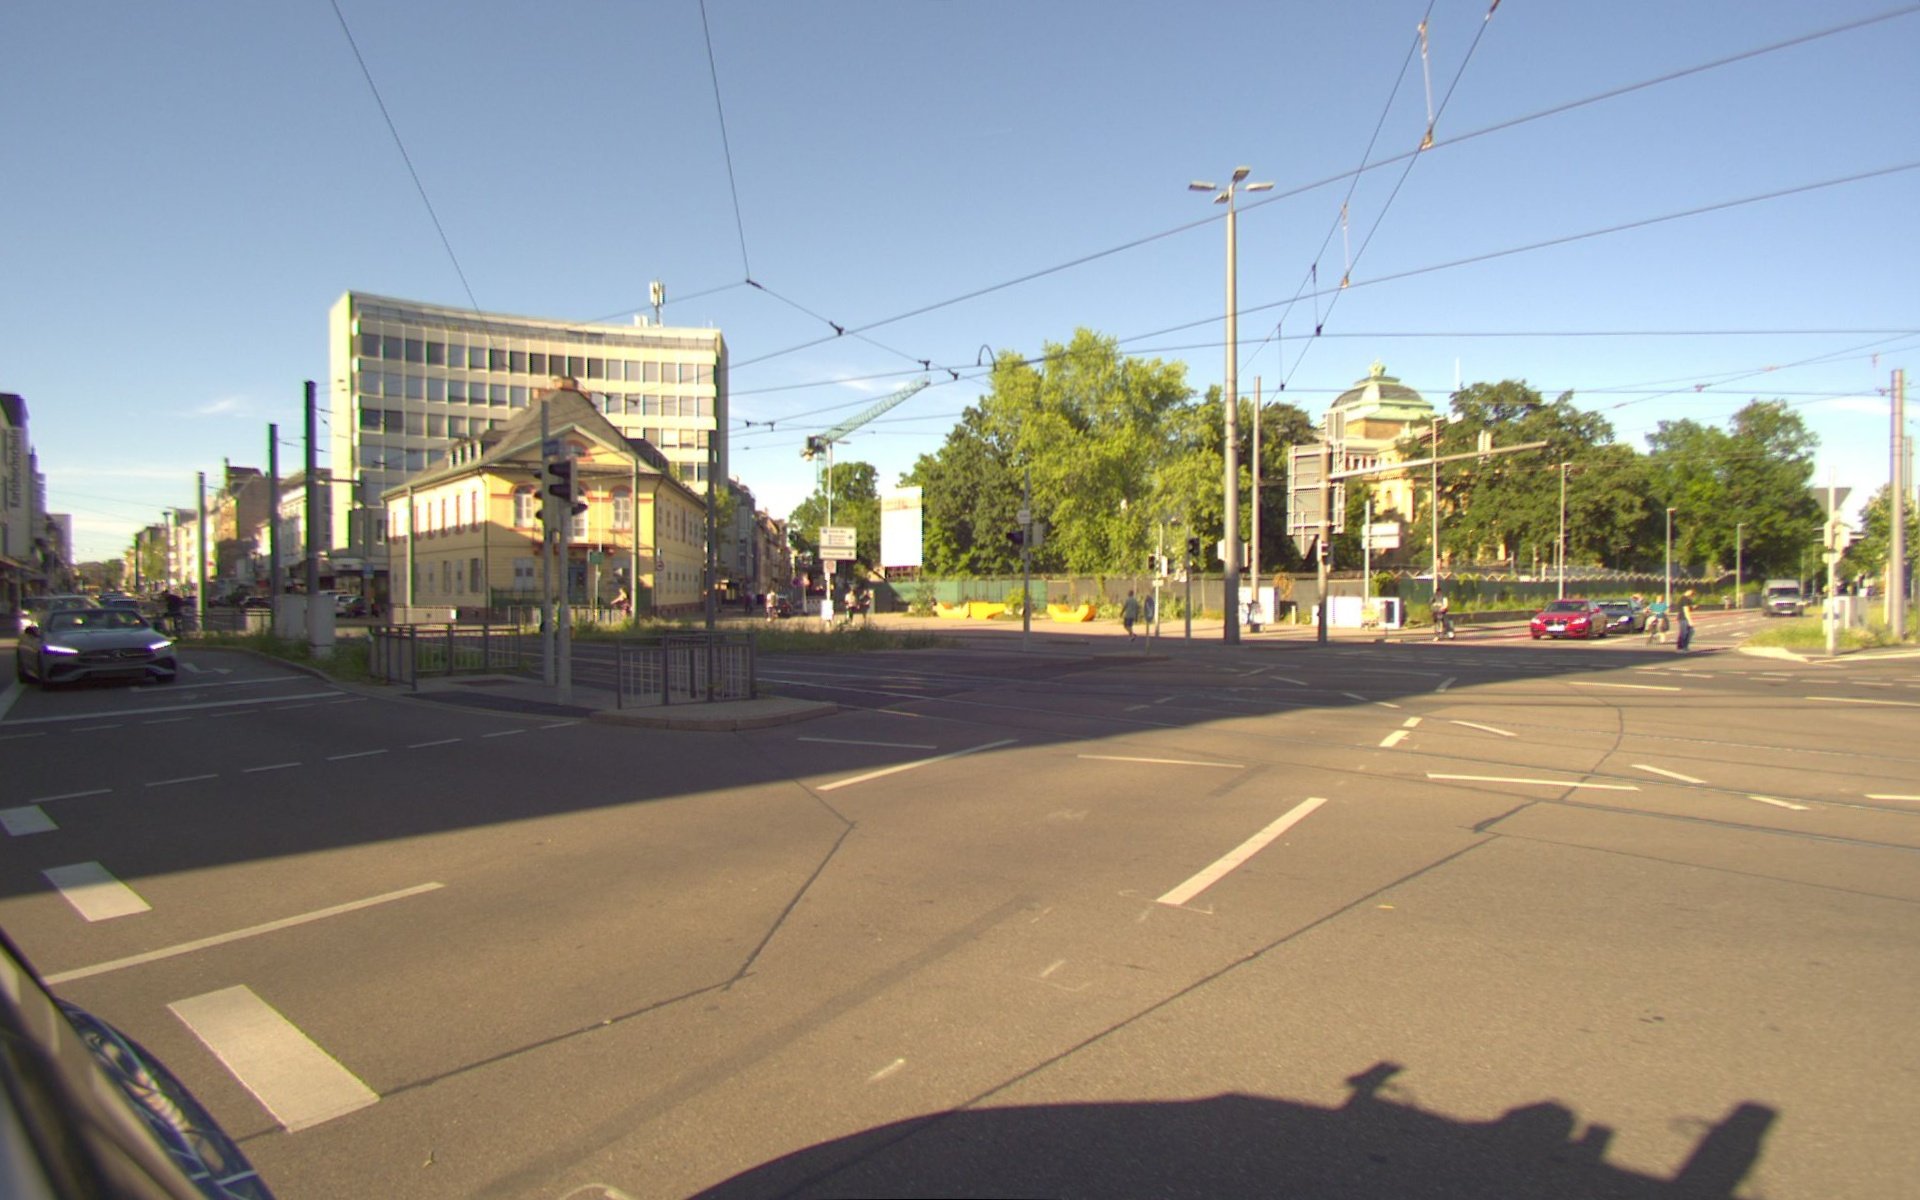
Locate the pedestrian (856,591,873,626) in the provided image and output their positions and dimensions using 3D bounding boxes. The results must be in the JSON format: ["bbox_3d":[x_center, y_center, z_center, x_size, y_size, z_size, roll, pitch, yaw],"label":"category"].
[{"bbox_3d":[-5.159,0.430,54.479,0.695,1.865,0.742,0,1,-29],"label":"pedestrian"}]

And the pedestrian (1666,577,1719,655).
[{"bbox_3d":[18.577,0.384,25.663,0.712,1.948,0.801,0,1,-19],"label":"pedestrian"}]

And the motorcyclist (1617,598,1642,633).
[{"bbox_3d":[30.170,0.697,45.598,0.782,1.535,0.910,1,1,44],"label":"motorcyclist"}]

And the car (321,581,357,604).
[{"bbox_3d":[-45.924,-0.593,74.820,1.754,1.632,4.184,-2,2,-38],"label":"car"}]

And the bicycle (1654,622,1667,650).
[{"bbox_3d":[21.008,1.064,30.362,0.319,0.769,1.162,1,1,35],"label":"bicycle"}]

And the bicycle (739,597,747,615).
[{"bbox_3d":[-15.016,0.426,70.045,0.522,1.223,1.890,0,1,-13],"label":"bicycle"}]

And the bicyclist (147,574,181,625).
[{"bbox_3d":[-24.393,-0.022,31.012,0.634,1.534,0.675,1,1,37],"label":"bicyclist"}]

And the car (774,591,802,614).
[{"bbox_3d":[-13.186,0.145,77.628,1.775,1.682,3.760,0,1,-4],"label":"car"}]

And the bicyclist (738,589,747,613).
[{"bbox_3d":[-15.084,0.070,70.175,0.513,1.686,0.772,0,1,-14],"label":"bicyclist"}]

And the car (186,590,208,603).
[{"bbox_3d":[-93.077,-0.466,123.412,1.755,1.521,4.676,1,0,-42],"label":"car"}]

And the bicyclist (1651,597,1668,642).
[{"bbox_3d":[21.041,0.588,30.434,0.399,1.325,0.454,1,1,35],"label":"bicyclist"}]

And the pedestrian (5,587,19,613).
[{"bbox_3d":[-68.820,-0.005,73.474,0.727,1.831,0.749,-1,1,-43],"label":"pedestrian"}]

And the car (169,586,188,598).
[{"bbox_3d":[-107.277,-1.108,138.877,1.755,1.521,3.866,1,0,-41],"label":"car"}]

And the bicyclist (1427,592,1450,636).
[{"bbox_3d":[16.691,0.479,35.272,0.609,1.504,0.608,1,1,37],"label":"bicyclist"}]

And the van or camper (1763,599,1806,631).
[{"bbox_3d":[57.124,1.018,70.181,1.976,2.016,4.304,1,1,36],"label":"van or camper"}]

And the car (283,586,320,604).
[{"bbox_3d":[-58.426,-0.484,89.768,1.903,1.463,4.297,-3,3,-44],"label":"car"}]

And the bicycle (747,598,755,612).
[{"bbox_3d":[-15.643,0.353,75.760,0.523,1.021,1.888,0,1,-8],"label":"bicycle"}]

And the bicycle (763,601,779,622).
[{"bbox_3d":[-9.690,0.560,51.973,0.642,1.021,1.887,0,1,-5],"label":"bicycle"}]

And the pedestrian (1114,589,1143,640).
[{"bbox_3d":[5.667,0.486,34.065,0.705,1.701,0.618,-2,0,39],"label":"pedestrian"}]

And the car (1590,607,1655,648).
[{"bbox_3d":[27.013,1.097,41.210,1.576,1.483,3.659,1,2,44],"label":"car"}]

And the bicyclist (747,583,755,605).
[{"bbox_3d":[-15.640,-0.443,75.747,0.514,1.686,0.772,0,1,-8],"label":"bicyclist"}]

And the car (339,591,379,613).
[{"bbox_3d":[-42.072,0.123,70.777,1.755,1.449,3.968,-2,3,-40],"label":"car"}]

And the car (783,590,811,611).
[{"bbox_3d":[-13.269,0.030,82.650,1.776,1.682,3.757,0,1,-1],"label":"car"}]

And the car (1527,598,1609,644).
[{"bbox_3d":[21.781,0.727,36.185,1.782,1.521,4.502,1,-1,41],"label":"car"}]

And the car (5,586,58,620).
[{"bbox_3d":[-45.850,0.111,50.033,1.754,1.580,3.968,1,0,-40],"label":"car"}]

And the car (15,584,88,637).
[{"bbox_3d":[-31.272,0.333,34.912,1.711,1.676,3.968,1,0,-40],"label":"car"}]

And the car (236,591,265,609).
[{"bbox_3d":[-63.361,-0.026,90.351,1.664,1.572,4.129,-1,1,-41],"label":"car"}]

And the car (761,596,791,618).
[{"bbox_3d":[-12.109,0.448,66.739,1.625,1.357,3.764,0,1,-5],"label":"car"}]

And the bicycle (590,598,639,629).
[{"bbox_3d":[-15.204,0.592,44.583,2.003,1.300,0.574,0,1,9],"label":"bicycle"}]

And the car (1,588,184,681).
[{"bbox_3d":[-15.858,0.519,18.419,4.772,1.450,1.845,1,1,41],"label":"car"}]

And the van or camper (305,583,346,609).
[{"bbox_3d":[-49.760,-0.345,79.341,1.931,1.988,4.804,-3,3,-41],"label":"van or camper"}]

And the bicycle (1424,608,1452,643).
[{"bbox_3d":[16.663,0.882,35.246,0.611,1.142,1.482,1,1,37],"label":"bicycle"}]

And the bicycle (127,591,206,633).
[{"bbox_3d":[-24.357,0.346,31.075,0.641,1.221,1.803,1,1,37],"label":"bicycle"}]

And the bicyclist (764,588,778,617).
[{"bbox_3d":[-9.716,0.116,52.062,0.655,1.465,0.731,0,1,-5],"label":"bicyclist"}]

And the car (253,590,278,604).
[{"bbox_3d":[-73.653,-0.295,107.316,1.760,1.427,3.602,-1,1,-42],"label":"car"}]

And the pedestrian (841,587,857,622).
[{"bbox_3d":[-5.914,0.237,53.958,0.586,1.831,0.707,0,1,-29],"label":"pedestrian"}]

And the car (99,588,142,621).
[{"bbox_3d":[-45.870,0.222,55.293,1.756,1.676,3.968,1,0,-40],"label":"car"}]

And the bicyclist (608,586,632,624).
[{"bbox_3d":[-14.967,0.223,44.567,0.797,1.661,0.588,-1,0,10],"label":"bicyclist"}]
